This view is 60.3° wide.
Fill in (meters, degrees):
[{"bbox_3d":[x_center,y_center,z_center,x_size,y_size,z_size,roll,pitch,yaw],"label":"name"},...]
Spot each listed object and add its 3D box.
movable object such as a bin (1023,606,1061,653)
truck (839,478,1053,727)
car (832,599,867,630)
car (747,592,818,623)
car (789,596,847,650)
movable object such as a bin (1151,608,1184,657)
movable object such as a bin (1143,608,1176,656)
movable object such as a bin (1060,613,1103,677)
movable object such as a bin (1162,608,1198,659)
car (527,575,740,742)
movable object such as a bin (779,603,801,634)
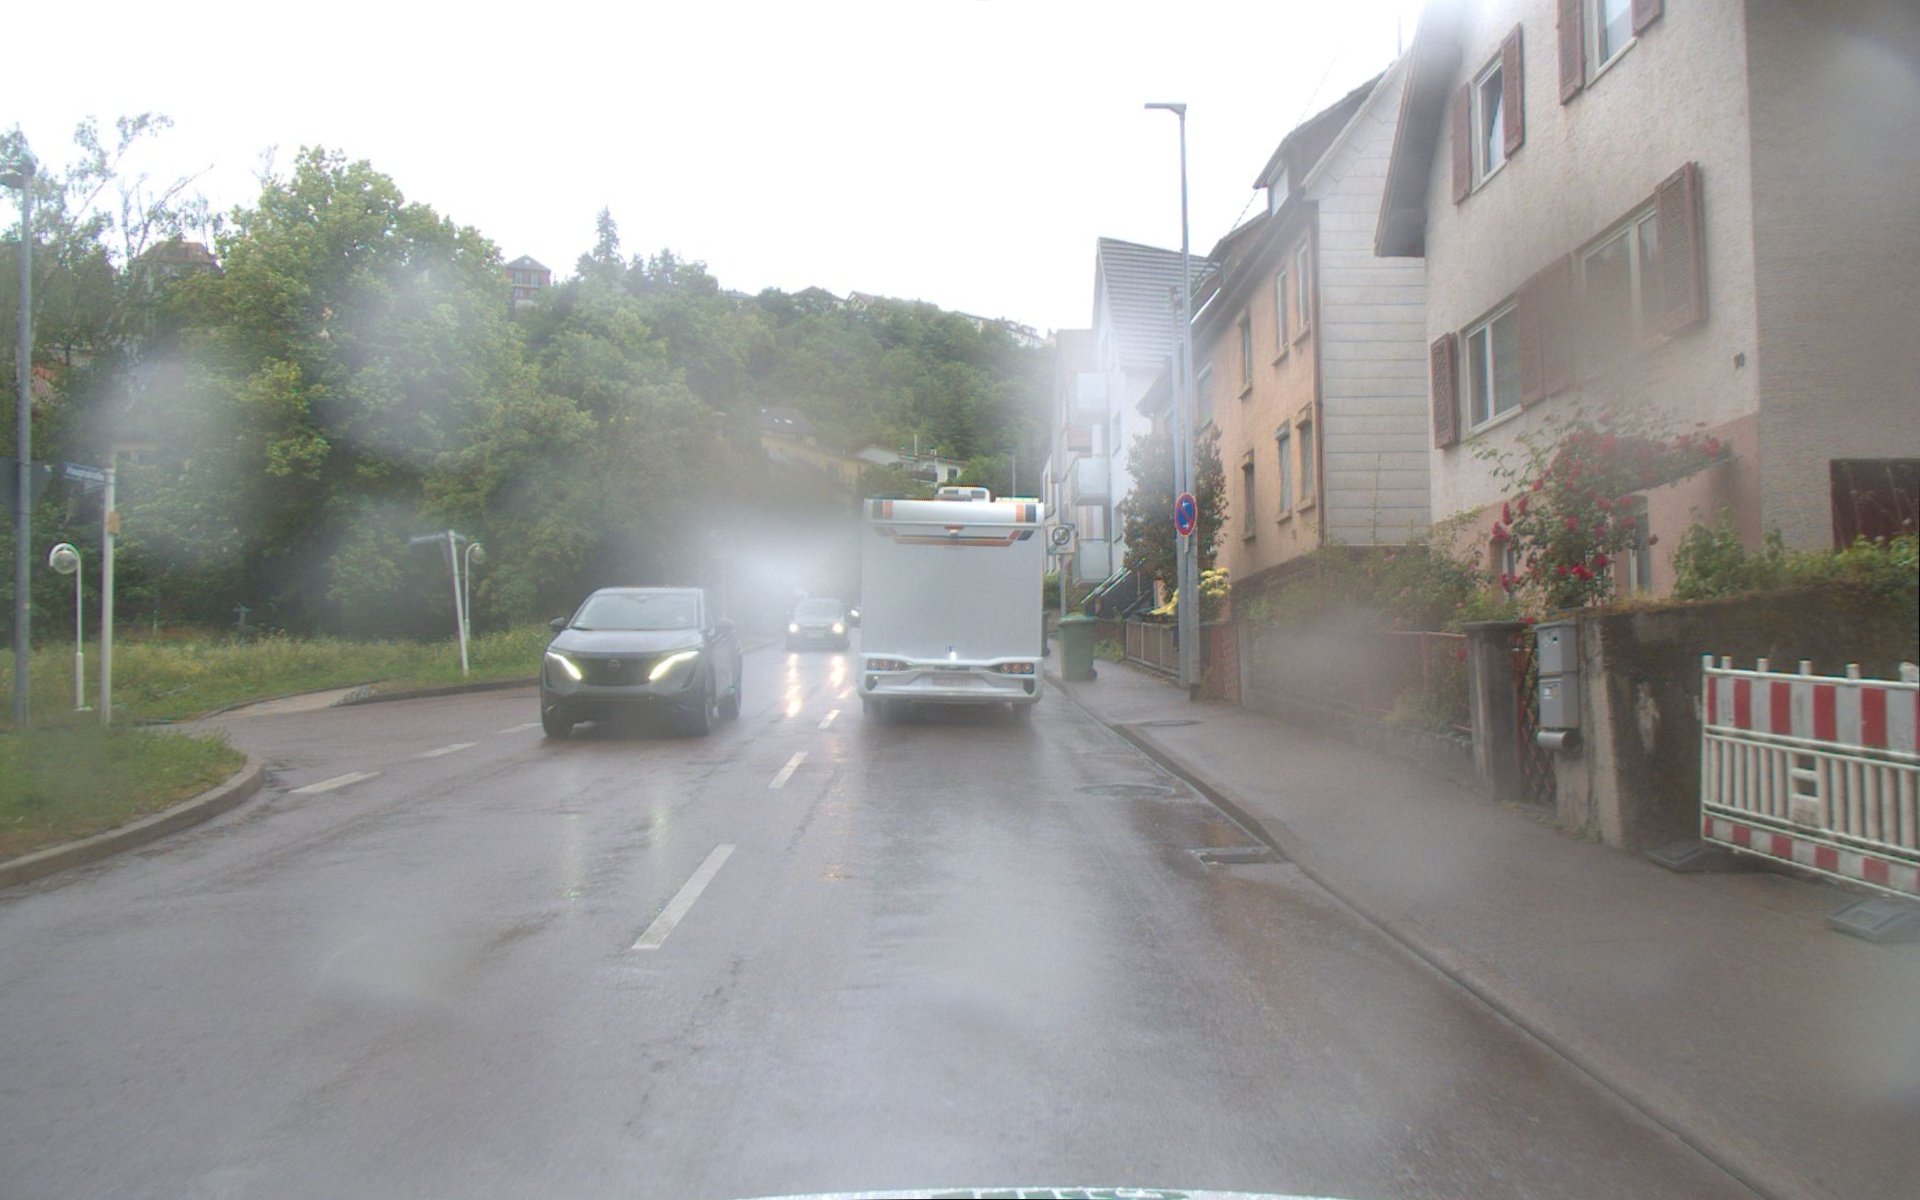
[{"bbox_3d":[2.000,0.716,40.250,0.895,1.122,0.702,0,0,1],"label":"movable object such as a bin"},{"bbox_3d":[-0.247,0.026,22.276,2.464,2.867,6.199,0,0,-2],"label":"truck"},{"bbox_3d":[-5.453,0.699,81.609,1.685,1.455,3.842,0,0,-3],"label":"car"},{"bbox_3d":[-10.759,0.428,100.316,4.021,1.831,2.000,1,0,1],"label":"car"},{"bbox_3d":[-4.023,0.624,47.258,1.529,1.480,4.082,0,0,-3],"label":"car"},{"bbox_3d":[4.946,0.777,39.485,0.632,1.112,0.545,-4,0,-3],"label":"movable object such as a bin"},{"bbox_3d":[4.847,0.776,40.137,0.647,1.112,0.545,-4,0,-3],"label":"movable object such as a bin"},{"bbox_3d":[2.088,0.770,28.445,0.705,1.070,0.800,0,0,2],"label":"movable object such as a bin"},{"bbox_3d":[4.998,0.747,37.531,0.647,1.112,0.655,-3,0,-3],"label":"movable object such as a bin"},{"bbox_3d":[-3.667,0.607,19.299,1.715,1.718,4.374,0,0,-2],"label":"car"},{"bbox_3d":[-6.251,0.684,60.897,0.706,1.119,0.757,2,0,-1],"label":"movable object such as a bin"}]
